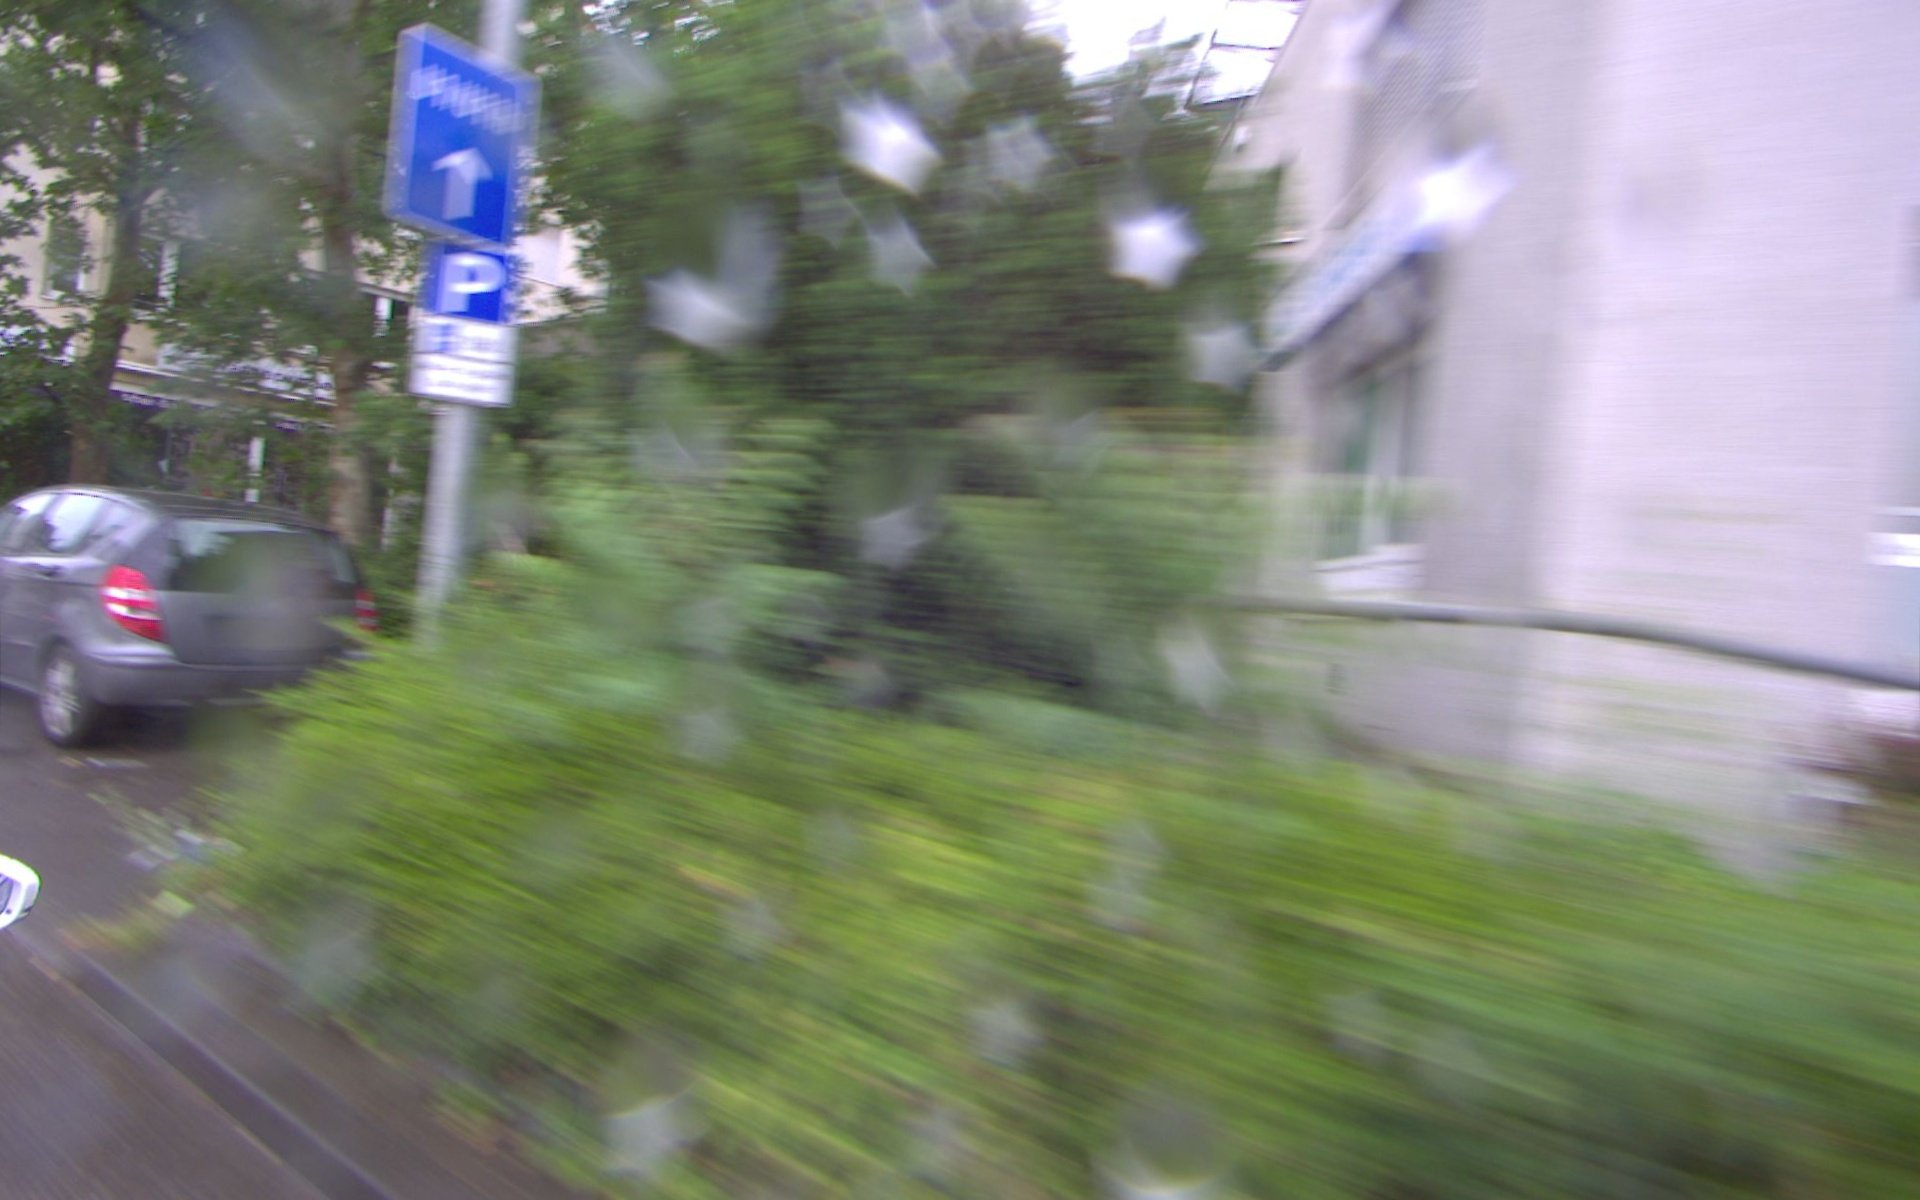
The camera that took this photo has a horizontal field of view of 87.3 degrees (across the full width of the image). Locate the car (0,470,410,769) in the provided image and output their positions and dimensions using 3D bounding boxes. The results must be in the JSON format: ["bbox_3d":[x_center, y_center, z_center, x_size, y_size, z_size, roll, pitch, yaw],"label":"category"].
[{"bbox_3d":[-5.995,-0.013,7.268,3.848,1.593,1.712,7,1,30],"label":"car"}]

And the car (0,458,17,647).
[{"bbox_3d":[-11.588,-0.738,10.166,4.657,1.803,1.931,7,1,34],"label":"car"}]
